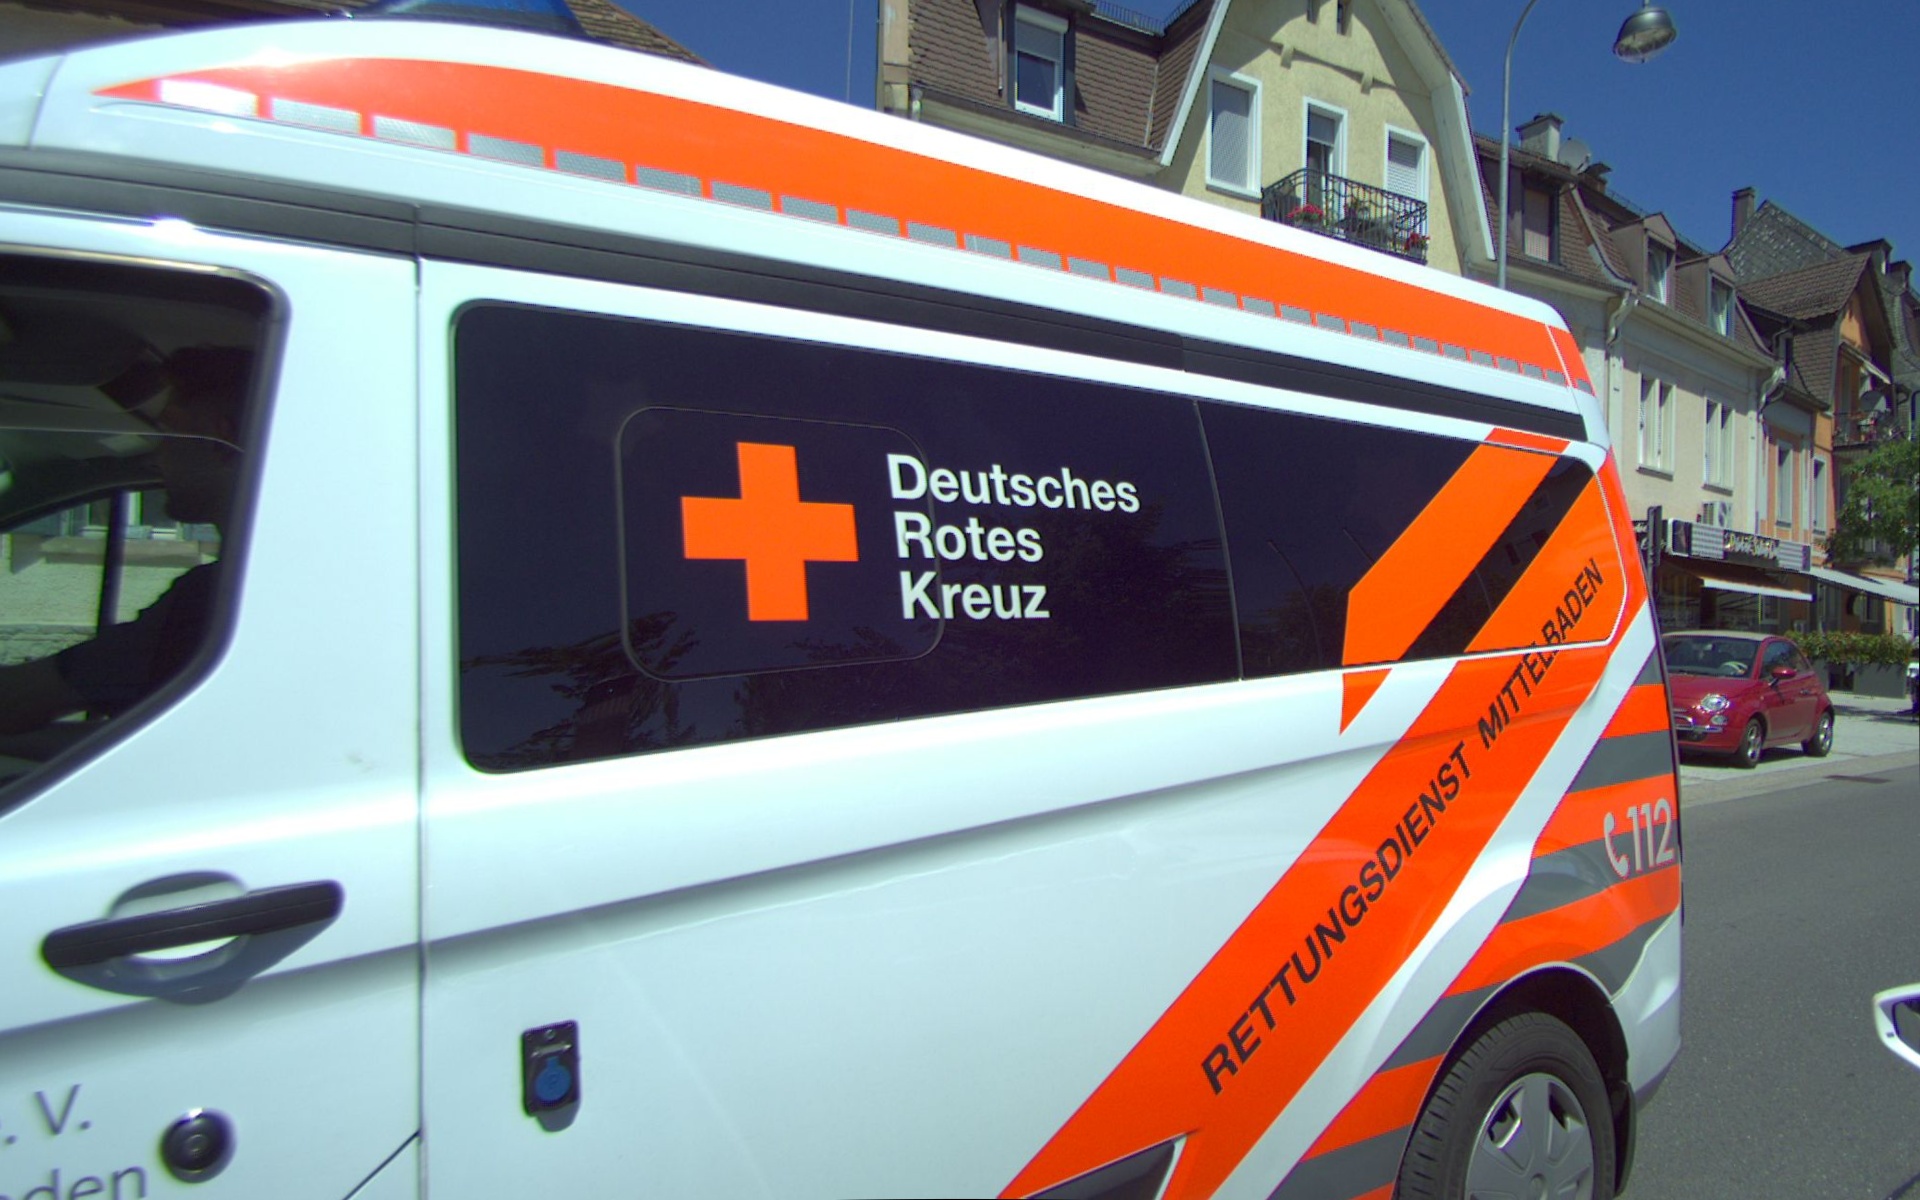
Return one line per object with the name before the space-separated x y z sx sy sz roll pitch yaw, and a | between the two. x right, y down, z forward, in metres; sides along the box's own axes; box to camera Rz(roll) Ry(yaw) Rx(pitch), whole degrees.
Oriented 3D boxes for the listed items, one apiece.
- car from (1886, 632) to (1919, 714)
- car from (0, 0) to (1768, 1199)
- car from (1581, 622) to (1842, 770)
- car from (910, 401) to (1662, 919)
car | 19.880 1.449 19.488 4.294 1.501 1.903 2 1 -35
car | -0.731 0.279 2.013 5.191 2.393 2.144 2 -2 -33
car | 9.333 1.116 12.410 3.481 1.541 1.549 3 -1 -35
car | 2.547 0.347 7.237 5.442 2.531 2.081 2 1 -32
